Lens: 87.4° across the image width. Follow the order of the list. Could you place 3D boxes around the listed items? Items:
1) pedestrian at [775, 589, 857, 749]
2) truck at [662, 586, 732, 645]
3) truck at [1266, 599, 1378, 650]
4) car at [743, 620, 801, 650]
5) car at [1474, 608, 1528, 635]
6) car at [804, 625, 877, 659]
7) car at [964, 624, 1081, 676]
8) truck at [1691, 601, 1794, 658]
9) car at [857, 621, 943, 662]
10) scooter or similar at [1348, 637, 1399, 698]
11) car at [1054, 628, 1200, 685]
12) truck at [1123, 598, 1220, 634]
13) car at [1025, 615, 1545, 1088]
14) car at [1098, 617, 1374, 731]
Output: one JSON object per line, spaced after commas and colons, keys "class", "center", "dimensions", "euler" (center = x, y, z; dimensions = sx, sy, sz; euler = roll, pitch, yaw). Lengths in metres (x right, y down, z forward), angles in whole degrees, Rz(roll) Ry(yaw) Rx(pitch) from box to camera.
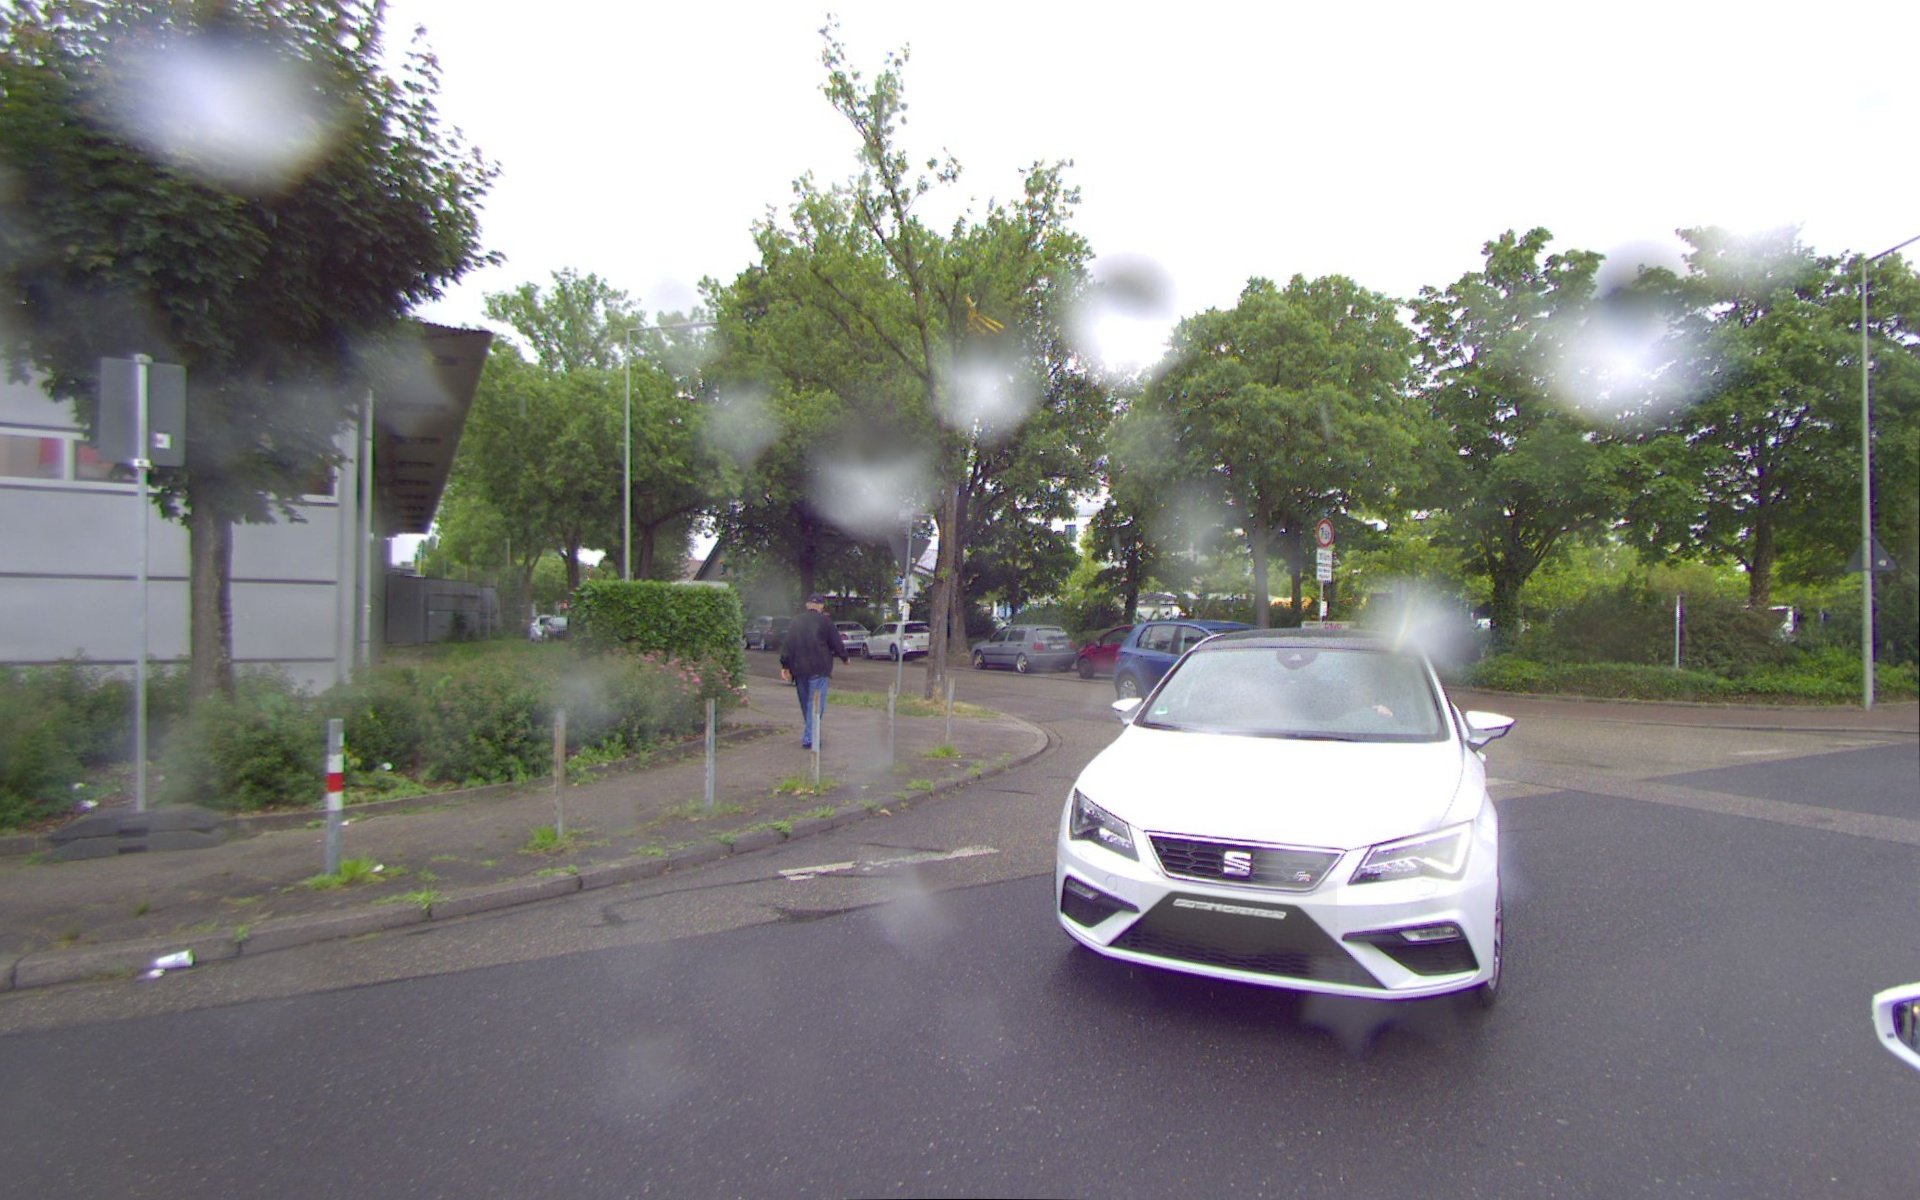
{"class": "pedestrian", "center": [-1.577, 0.745, 11.122], "dimensions": [0.743, 1.696, 0.782], "euler": [0, -1, 2]}
{"class": "truck", "center": [-16.752, 1.031, 63.690], "dimensions": [2.572, 3.515, 6.761], "euler": [1, -1, -30]}
{"class": "truck", "center": [19.619, 1.319, 54.289], "dimensions": [6.315, 2.636, 1.986], "euler": [1, -1, -28]}
{"class": "car", "center": [-9.515, 1.751, 50.610], "dimensions": [1.715, 1.401, 4.066], "euler": [1, -2, -29]}
{"class": "car", "center": [43.616, 1.710, 80.977], "dimensions": [3.951, 2.040, 1.985], "euler": [2, -1, -29]}
{"class": "car", "center": [-5.154, 1.770, 43.001], "dimensions": [1.715, 1.401, 4.066], "euler": [1, -2, -29]}
{"class": "car", "center": [1.844, 1.477, 30.667], "dimensions": [1.715, 1.460, 3.970], "euler": [1, -2, -29]}
{"class": "truck", "center": [40.303, 1.535, 51.691], "dimensions": [6.392, 2.789, 1.984], "euler": [1, -1, -31]}
{"class": "car", "center": [-2.332, 1.548, 38.177], "dimensions": [1.715, 1.460, 3.970], "euler": [1, -2, -29]}
{"class": "scooter or similar", "center": [8.322, 1.353, 20.204], "dimensions": [1.045, 1.191, 0.283], "euler": [1, -1, -22]}
{"class": "car", "center": [4.314, 1.427, 26.549], "dimensions": [1.715, 1.381, 3.970], "euler": [1, -2, -29]}
{"class": "truck", "center": [12.772, 0.999, 60.410], "dimensions": [6.065, 2.087, 1.983], "euler": [1, -1, -32]}
{"class": "car", "center": [1.833, 0.840, 5.292], "dimensions": [1.703, 1.460, 3.998], "euler": [-1, -2, 24]}
{"class": "car", "center": [3.953, 1.019, 15.052], "dimensions": [1.715, 1.460, 3.970], "euler": [1, -2, -29]}
